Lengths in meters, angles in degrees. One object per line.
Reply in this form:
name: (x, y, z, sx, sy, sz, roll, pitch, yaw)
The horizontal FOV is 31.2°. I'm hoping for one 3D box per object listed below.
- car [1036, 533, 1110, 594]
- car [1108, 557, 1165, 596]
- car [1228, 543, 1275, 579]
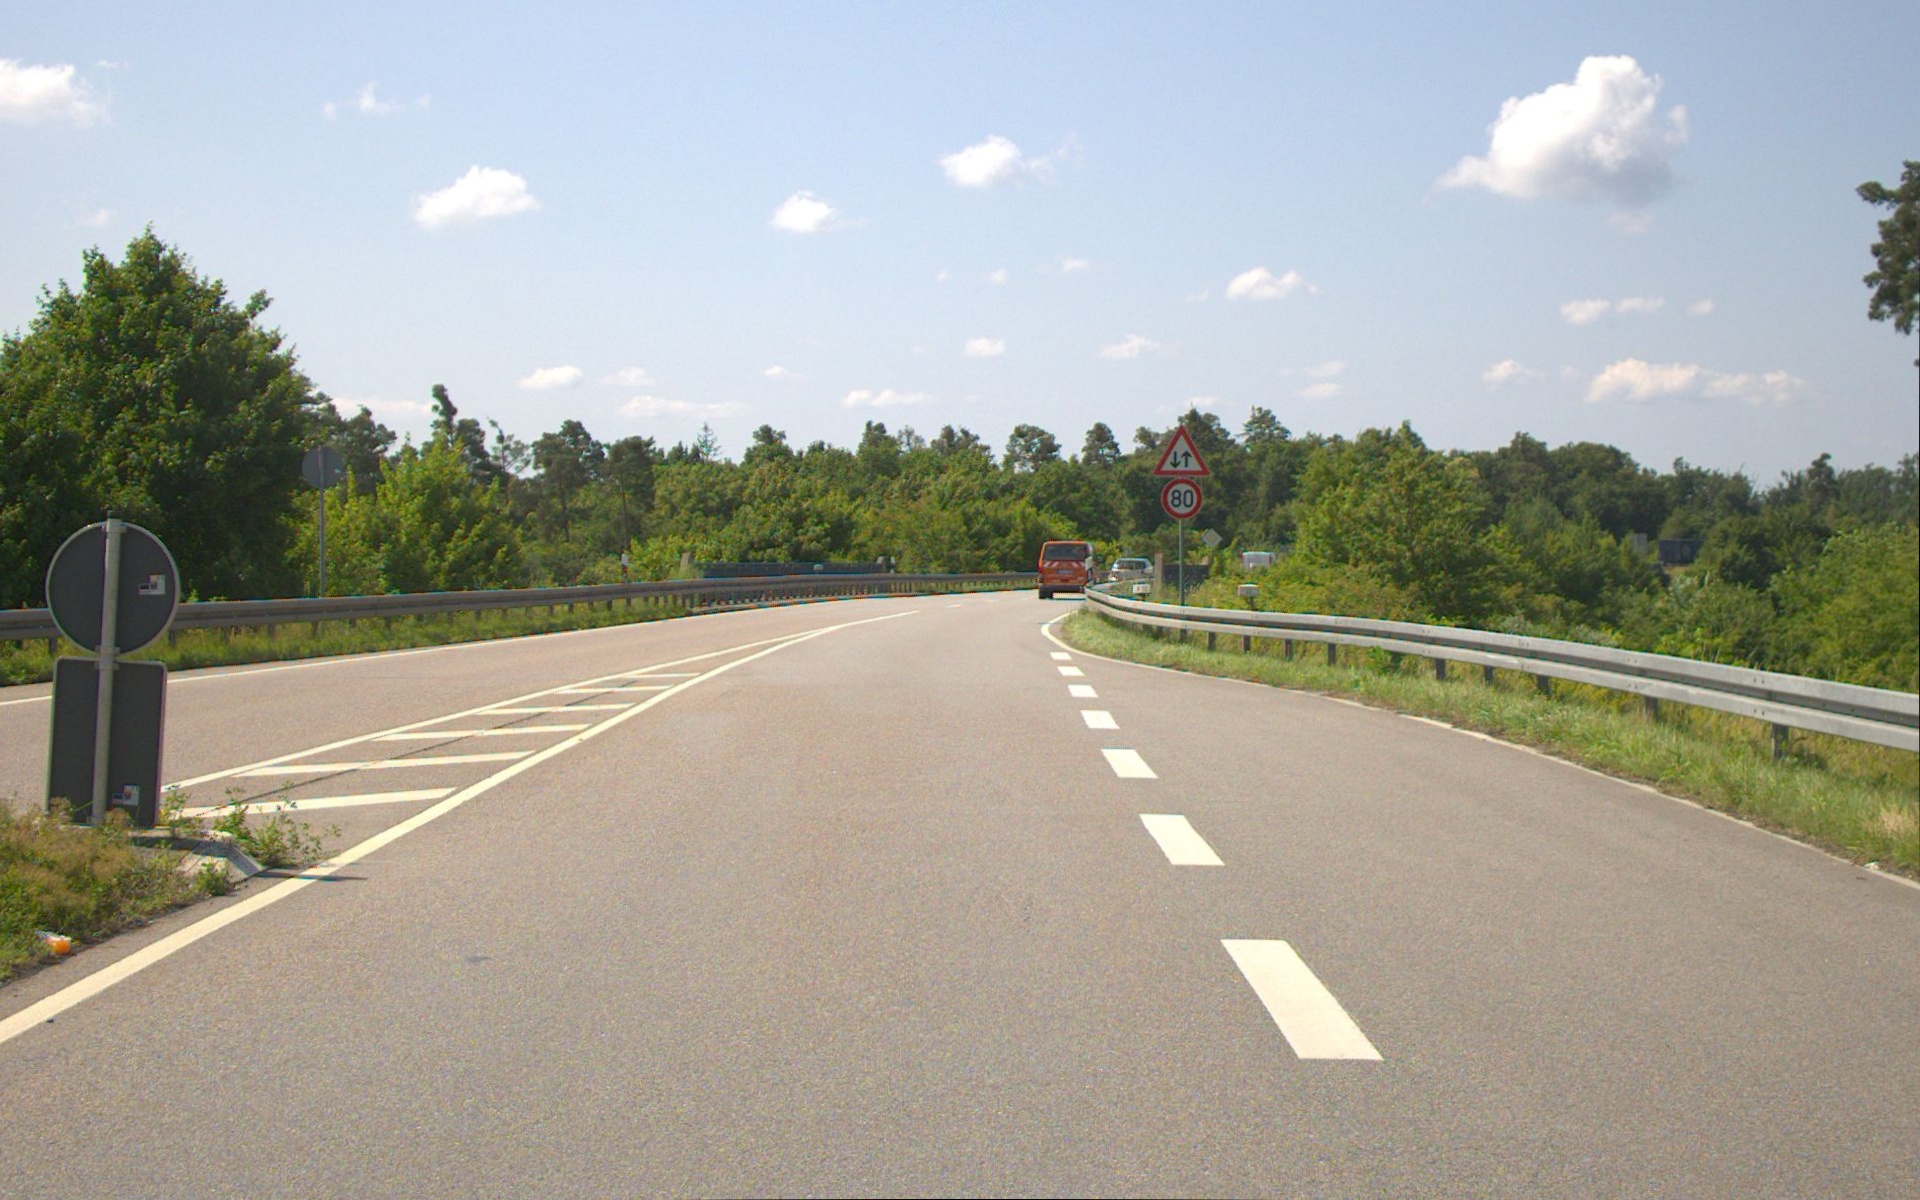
car: (3.849, -1.214, 115.938, 2.078, 1.986, 5.110, 1, 0, 6)
car: (7.098, -0.947, 137.666, 2.008, 1.489, 4.237, 1, 0, 6)
car: (16.466, -2.197, 194.121, 2.185, 1.948, 5.802, 2, 1, 9)
